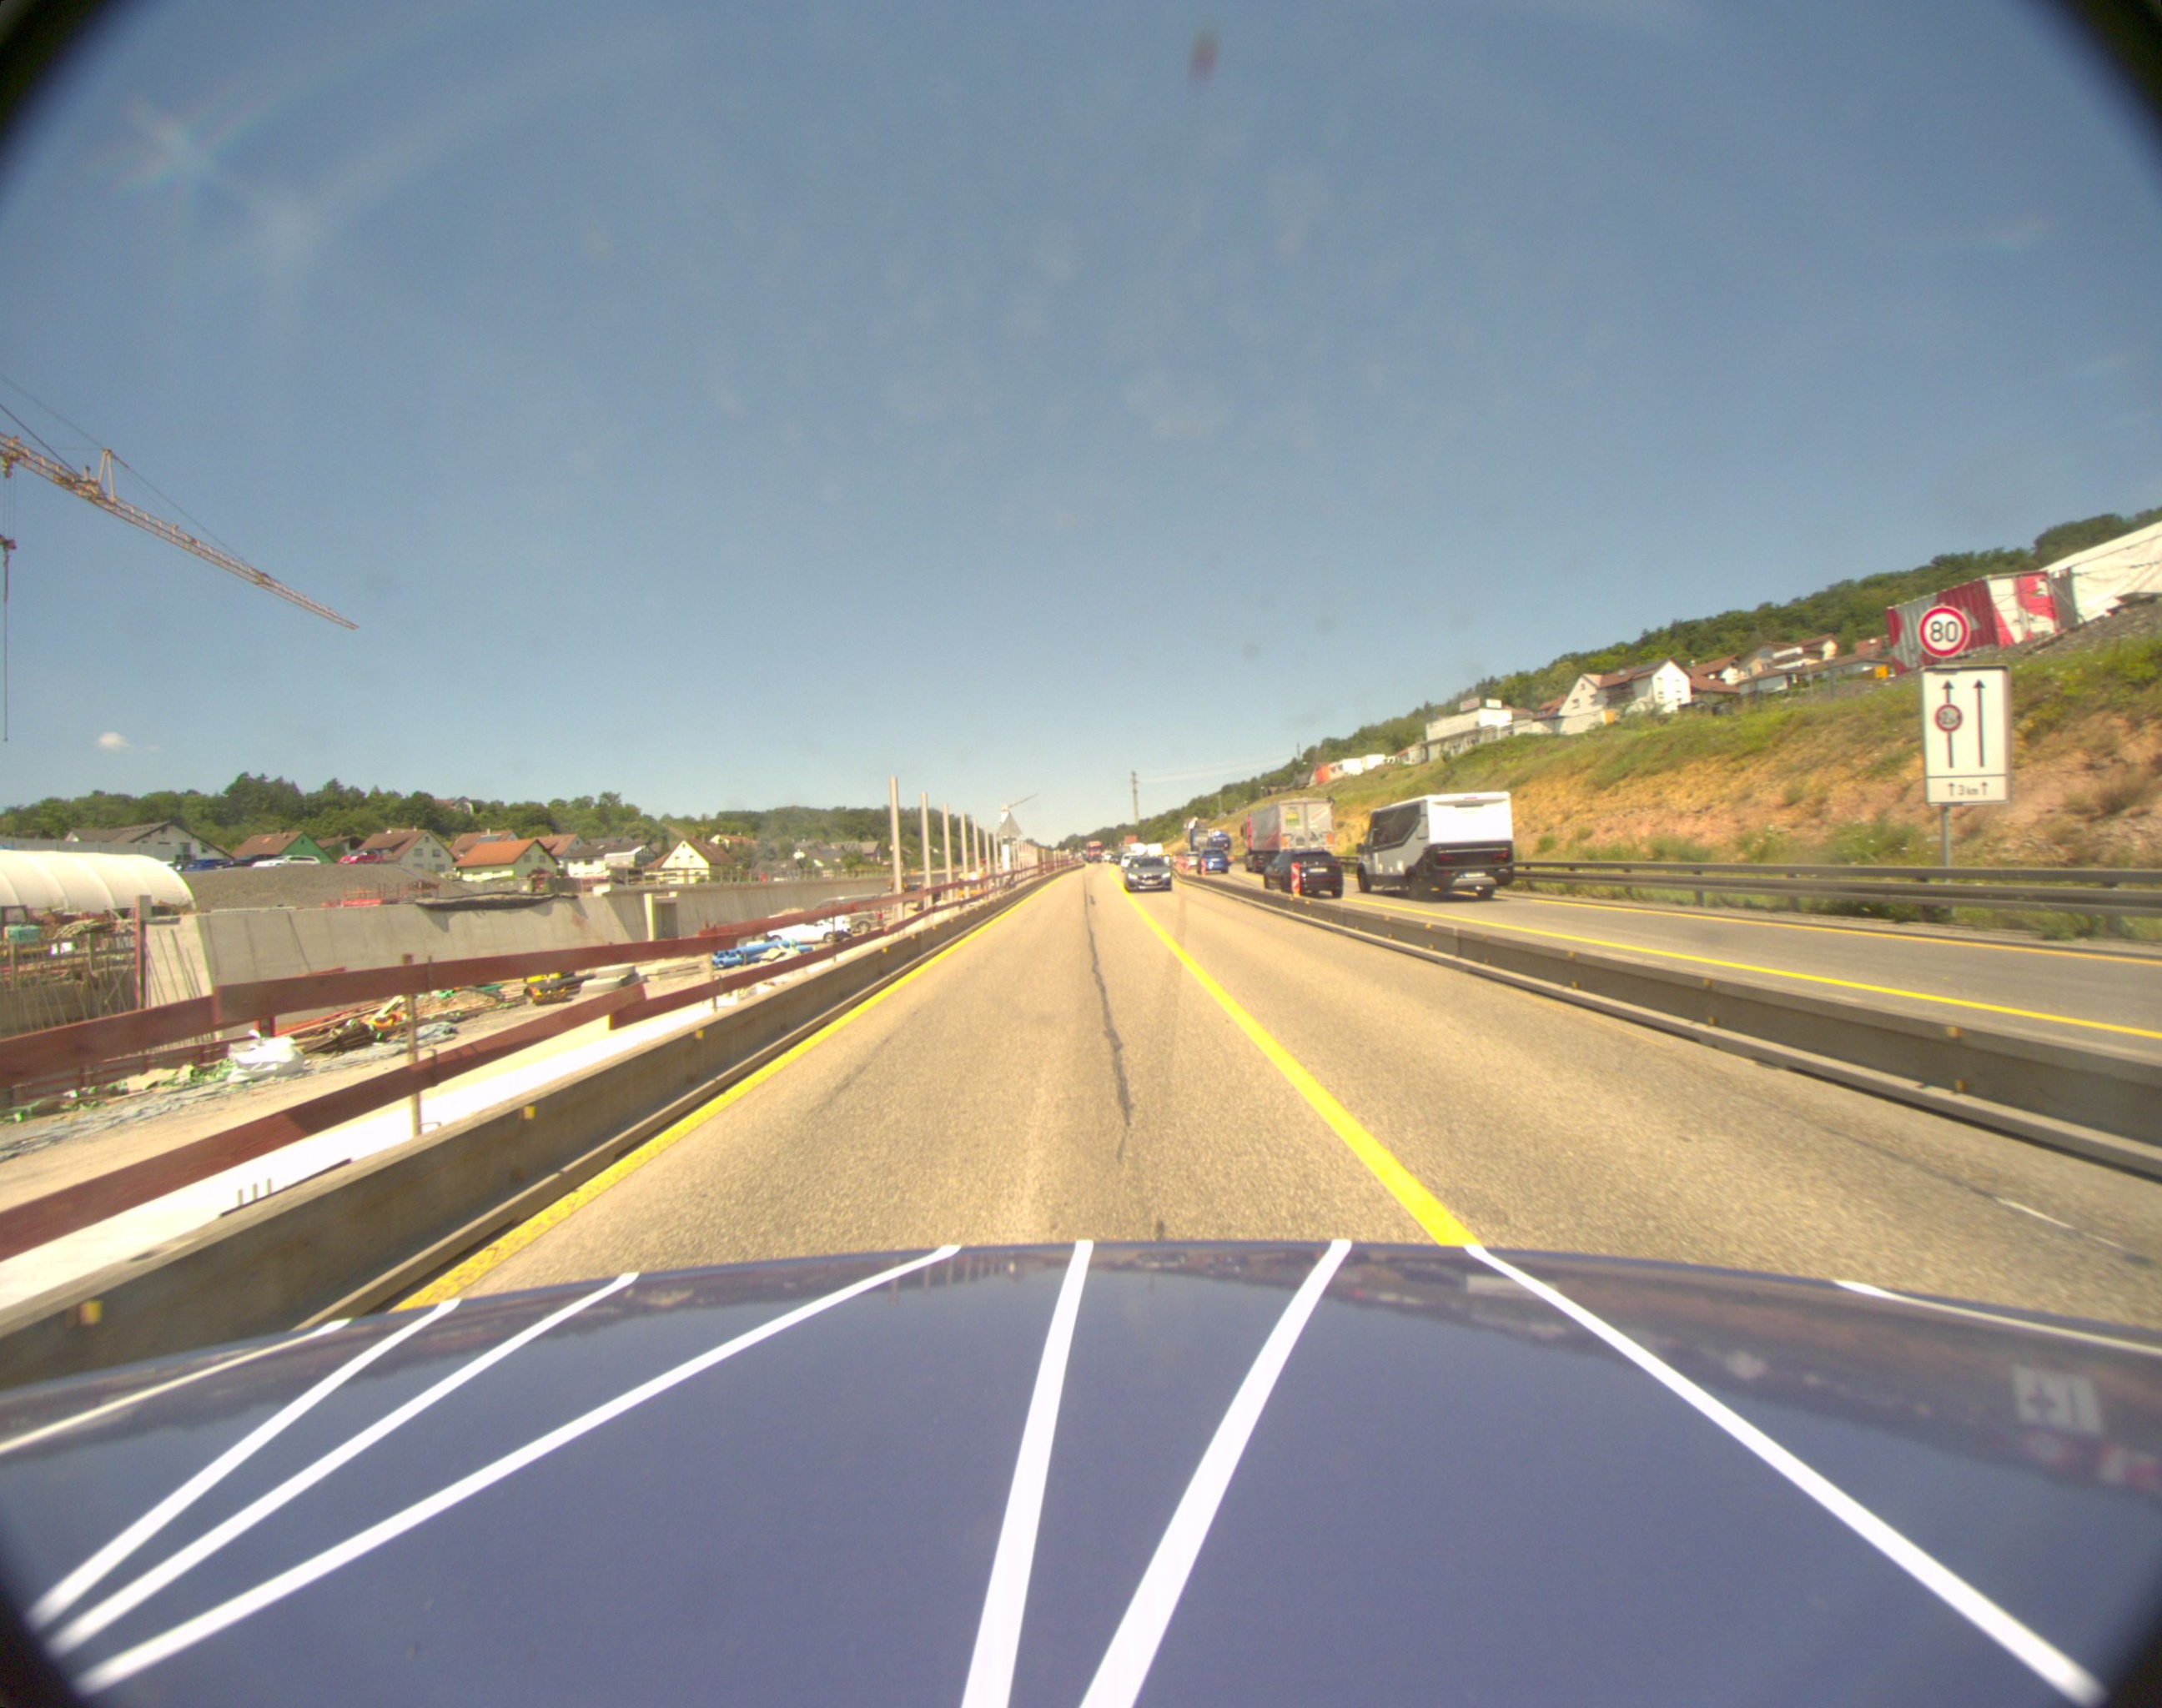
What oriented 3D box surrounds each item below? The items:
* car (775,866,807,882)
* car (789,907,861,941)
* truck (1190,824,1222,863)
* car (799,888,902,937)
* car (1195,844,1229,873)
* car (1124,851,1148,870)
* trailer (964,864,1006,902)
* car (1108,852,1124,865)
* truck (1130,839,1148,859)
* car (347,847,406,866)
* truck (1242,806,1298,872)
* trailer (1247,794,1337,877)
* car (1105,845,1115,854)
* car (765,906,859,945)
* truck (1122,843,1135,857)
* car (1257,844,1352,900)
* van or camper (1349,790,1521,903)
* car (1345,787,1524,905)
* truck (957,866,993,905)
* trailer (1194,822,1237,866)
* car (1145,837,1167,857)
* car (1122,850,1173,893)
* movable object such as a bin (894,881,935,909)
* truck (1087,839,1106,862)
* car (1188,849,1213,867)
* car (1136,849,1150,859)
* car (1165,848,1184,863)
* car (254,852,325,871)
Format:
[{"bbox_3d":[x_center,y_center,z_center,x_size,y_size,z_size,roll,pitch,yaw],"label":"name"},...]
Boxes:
[{"bbox_3d":[-32.374,2.213,84.981,1.658,1.594,4.605,-3,1,0],"label":"car"},{"bbox_3d":[-16.047,4.367,47.796,3.871,1.676,1.692,-4,0,-4],"label":"car"},{"bbox_3d":[13.406,-1.173,81.812,2.589,3.954,4.588,-3,1,2],"label":"truck"},{"bbox_3d":[-15.550,3.951,51.615,6.308,2.566,2.053,-6,-1,-13],"label":"car"},{"bbox_3d":[8.394,0.250,49.046,1.837,1.654,4.686,-2,1,7],"label":"car"},{"bbox_3d":[4.610,0.487,64.144,1.838,1.465,4.390,-3,0,2],"label":"car"},{"bbox_3d":[-10.097,2.942,81.148,2.446,3.333,12.893,-3,1,1],"label":"trailer"},{"bbox_3d":[4.618,0.587,101.986,1.801,1.542,4.000,-3,-1,-1],"label":"car"},{"bbox_3d":[12.709,-1.223,167.549,3.115,4.023,13.156,-3,1,1],"label":"truck"},{"bbox_3d":[-60.239,0.211,65.057,1.545,1.477,3.606,-3,1,1],"label":"car"},{"bbox_3d":[11.820,-0.948,47.940,2.590,3.807,5.382,-2,1,6],"label":"truck"},{"bbox_3d":[11.176,-0.974,41.472,2.661,3.794,11.824,-2,1,6],"label":"trailer"},{"bbox_3d":[9.683,-1.572,250.914,2.926,2.863,6.696,-3,0,0],"label":"car"},{"bbox_3d":[-15.704,4.162,44.549,4.801,1.758,1.720,-4,0,1],"label":"car"},{"bbox_3d":[13.496,-1.180,218.486,3.148,4.023,10.209,-3,1,1],"label":"truck"},{"bbox_3d":[6.872,0.535,23.811,1.758,1.508,4.187,-3,0,1],"label":"car"},{"bbox_3d":[9.810,-0.198,21.854,2.128,2.689,6.456,-2,0,3],"label":"van or camper"},{"bbox_3d":[9.810,-0.244,21.925,2.280,2.805,6.559,-3,1,3],"label":"car"},{"bbox_3d":[-10.265,3.000,74.274,2.504,3.385,5.435,-3,1,1],"label":"truck"},{"bbox_3d":[13.204,-1.002,75.474,2.606,3.848,11.273,-3,1,2],"label":"trailer"},{"bbox_3d":[10.306,-0.913,104.837,2.211,2.614,6.627,-3,0,0],"label":"car"},{"bbox_3d":[2.684,0.649,31.548,1.838,1.587,4.390,-3,0,2],"label":"car"},{"bbox_3d":[-18.597,4.565,85.174,3.266,2.769,4.001,-2,1,7],"label":"movable object such as a bin"},{"bbox_3d":[2.944,-0.721,143.982,3.463,4.023,10.209,-3,1,1],"label":"truck"},{"bbox_3d":[10.246,0.290,65.501,1.837,1.421,4.536,-3,0,5],"label":"car"},{"bbox_3d":[9.930,-0.025,121.113,1.838,1.368,4.389,-3,0,0],"label":"car"},{"bbox_3d":[10.390,0.180,84.725,1.837,1.510,4.844,-3,0,5],"label":"car"},{"bbox_3d":[-69.165,0.592,66.495,1.729,1.477,4.214,-3,1,1],"label":"car"}]
